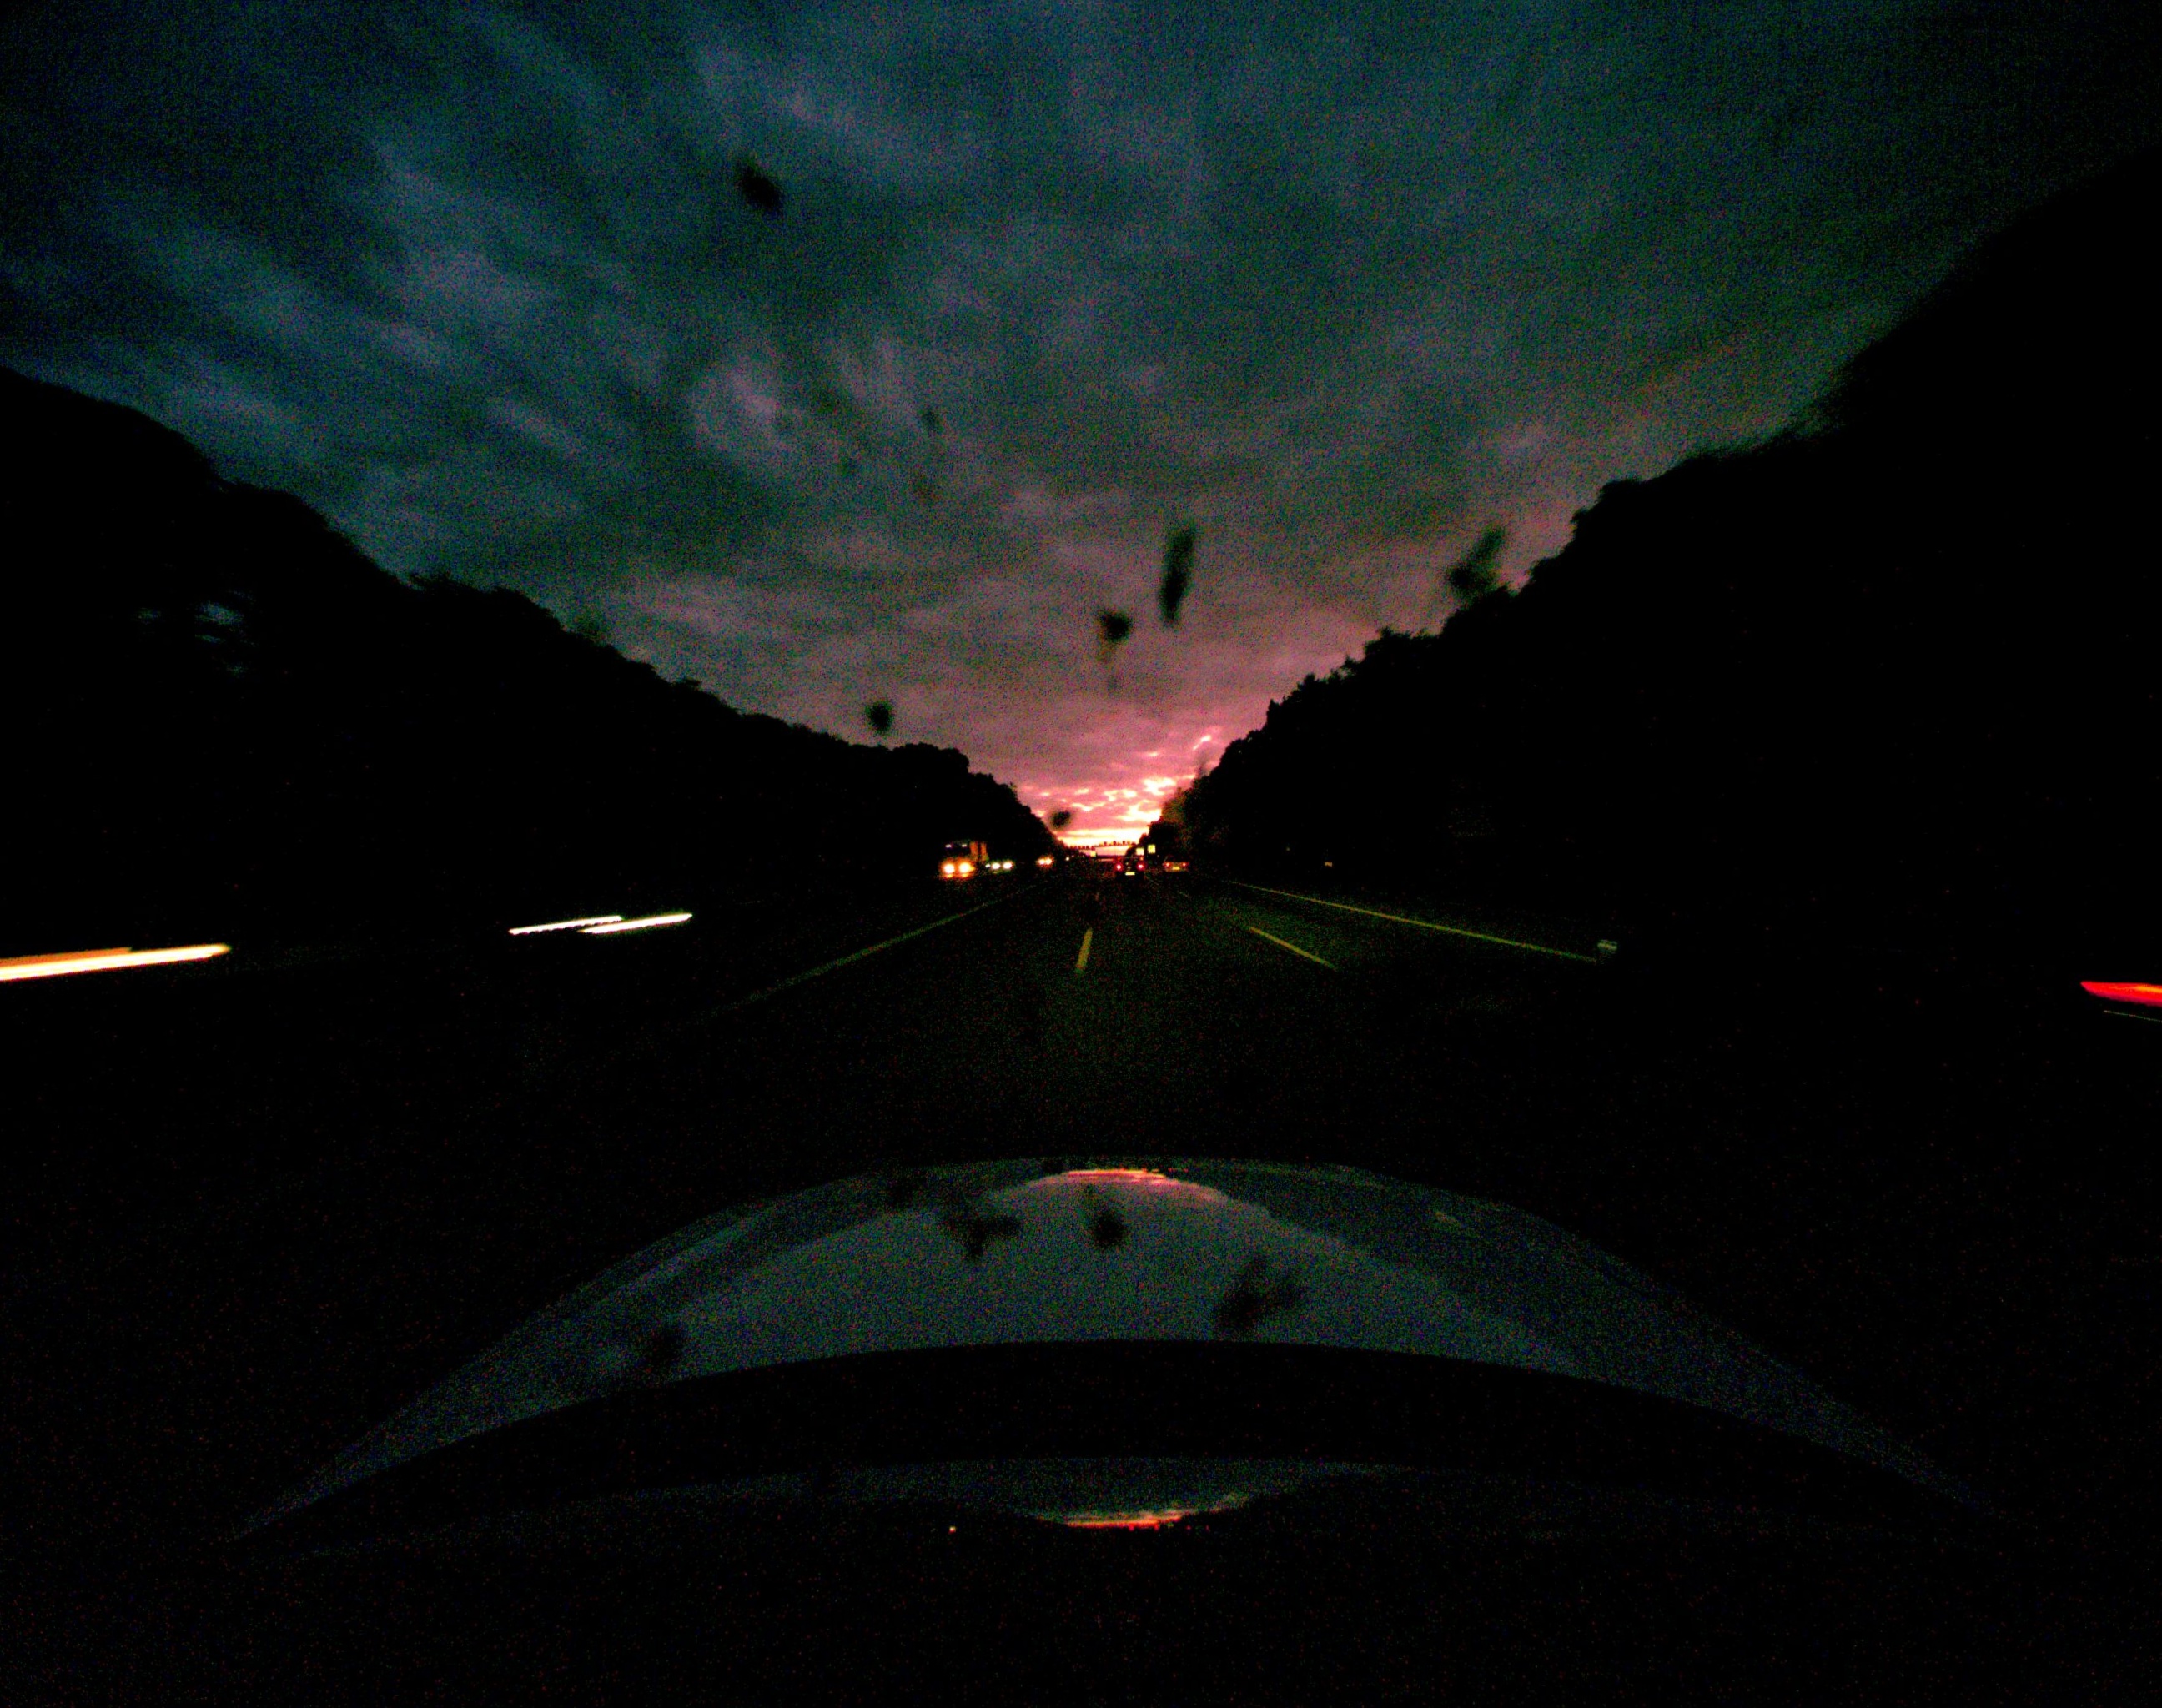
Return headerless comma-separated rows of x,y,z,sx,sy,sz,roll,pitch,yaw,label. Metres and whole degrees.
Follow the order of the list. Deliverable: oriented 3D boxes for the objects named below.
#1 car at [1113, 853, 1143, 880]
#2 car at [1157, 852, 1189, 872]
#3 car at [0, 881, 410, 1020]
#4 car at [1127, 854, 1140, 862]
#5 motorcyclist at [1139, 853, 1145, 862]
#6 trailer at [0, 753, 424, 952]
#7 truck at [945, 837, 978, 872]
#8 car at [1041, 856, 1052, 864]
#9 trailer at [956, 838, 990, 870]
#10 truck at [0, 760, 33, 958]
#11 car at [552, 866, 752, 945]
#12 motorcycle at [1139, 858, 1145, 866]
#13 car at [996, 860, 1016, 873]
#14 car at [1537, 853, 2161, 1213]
2.805,0.777,49.098,1.697,1.509,4.232,0,-1,1,car
7.056,0.672,62.655,1.821,1.476,4.394,0,-1,-2,car
-12.608,1.243,11.996,1.680,1.515,4.416,-1,0,2,car
9.915,0.779,153.857,1.861,1.494,4.394,0,-1,-2,car
9.006,0.548,120.344,0.826,1.291,1.190,-2,-1,2,motorcyclist
-23.789,0.036,20.039,3.178,4.105,14.193,-1,-1,3,trailer
-14.362,0.058,98.168,2.637,3.972,7.123,-2,0,1,truck
-7.480,1.256,176.491,1.874,1.574,4.656,-2,0,1,car
-14.069,0.067,106.808,2.636,3.930,10.191,-2,0,2,trailer
-24.106,0.084,13.541,3.178,4.105,7.694,-1,-1,3,truck
-9.024,1.012,17.670,1.844,1.381,4.643,-1,0,0,car
9.028,1.183,120.399,0.826,1.134,2.476,-2,-1,2,motorcycle
-9.609,1.574,104.556,1.903,1.451,5.357,-2,0,2,car
5.267,0.734,5.500,1.859,1.436,4.584,0,-1,1,car
